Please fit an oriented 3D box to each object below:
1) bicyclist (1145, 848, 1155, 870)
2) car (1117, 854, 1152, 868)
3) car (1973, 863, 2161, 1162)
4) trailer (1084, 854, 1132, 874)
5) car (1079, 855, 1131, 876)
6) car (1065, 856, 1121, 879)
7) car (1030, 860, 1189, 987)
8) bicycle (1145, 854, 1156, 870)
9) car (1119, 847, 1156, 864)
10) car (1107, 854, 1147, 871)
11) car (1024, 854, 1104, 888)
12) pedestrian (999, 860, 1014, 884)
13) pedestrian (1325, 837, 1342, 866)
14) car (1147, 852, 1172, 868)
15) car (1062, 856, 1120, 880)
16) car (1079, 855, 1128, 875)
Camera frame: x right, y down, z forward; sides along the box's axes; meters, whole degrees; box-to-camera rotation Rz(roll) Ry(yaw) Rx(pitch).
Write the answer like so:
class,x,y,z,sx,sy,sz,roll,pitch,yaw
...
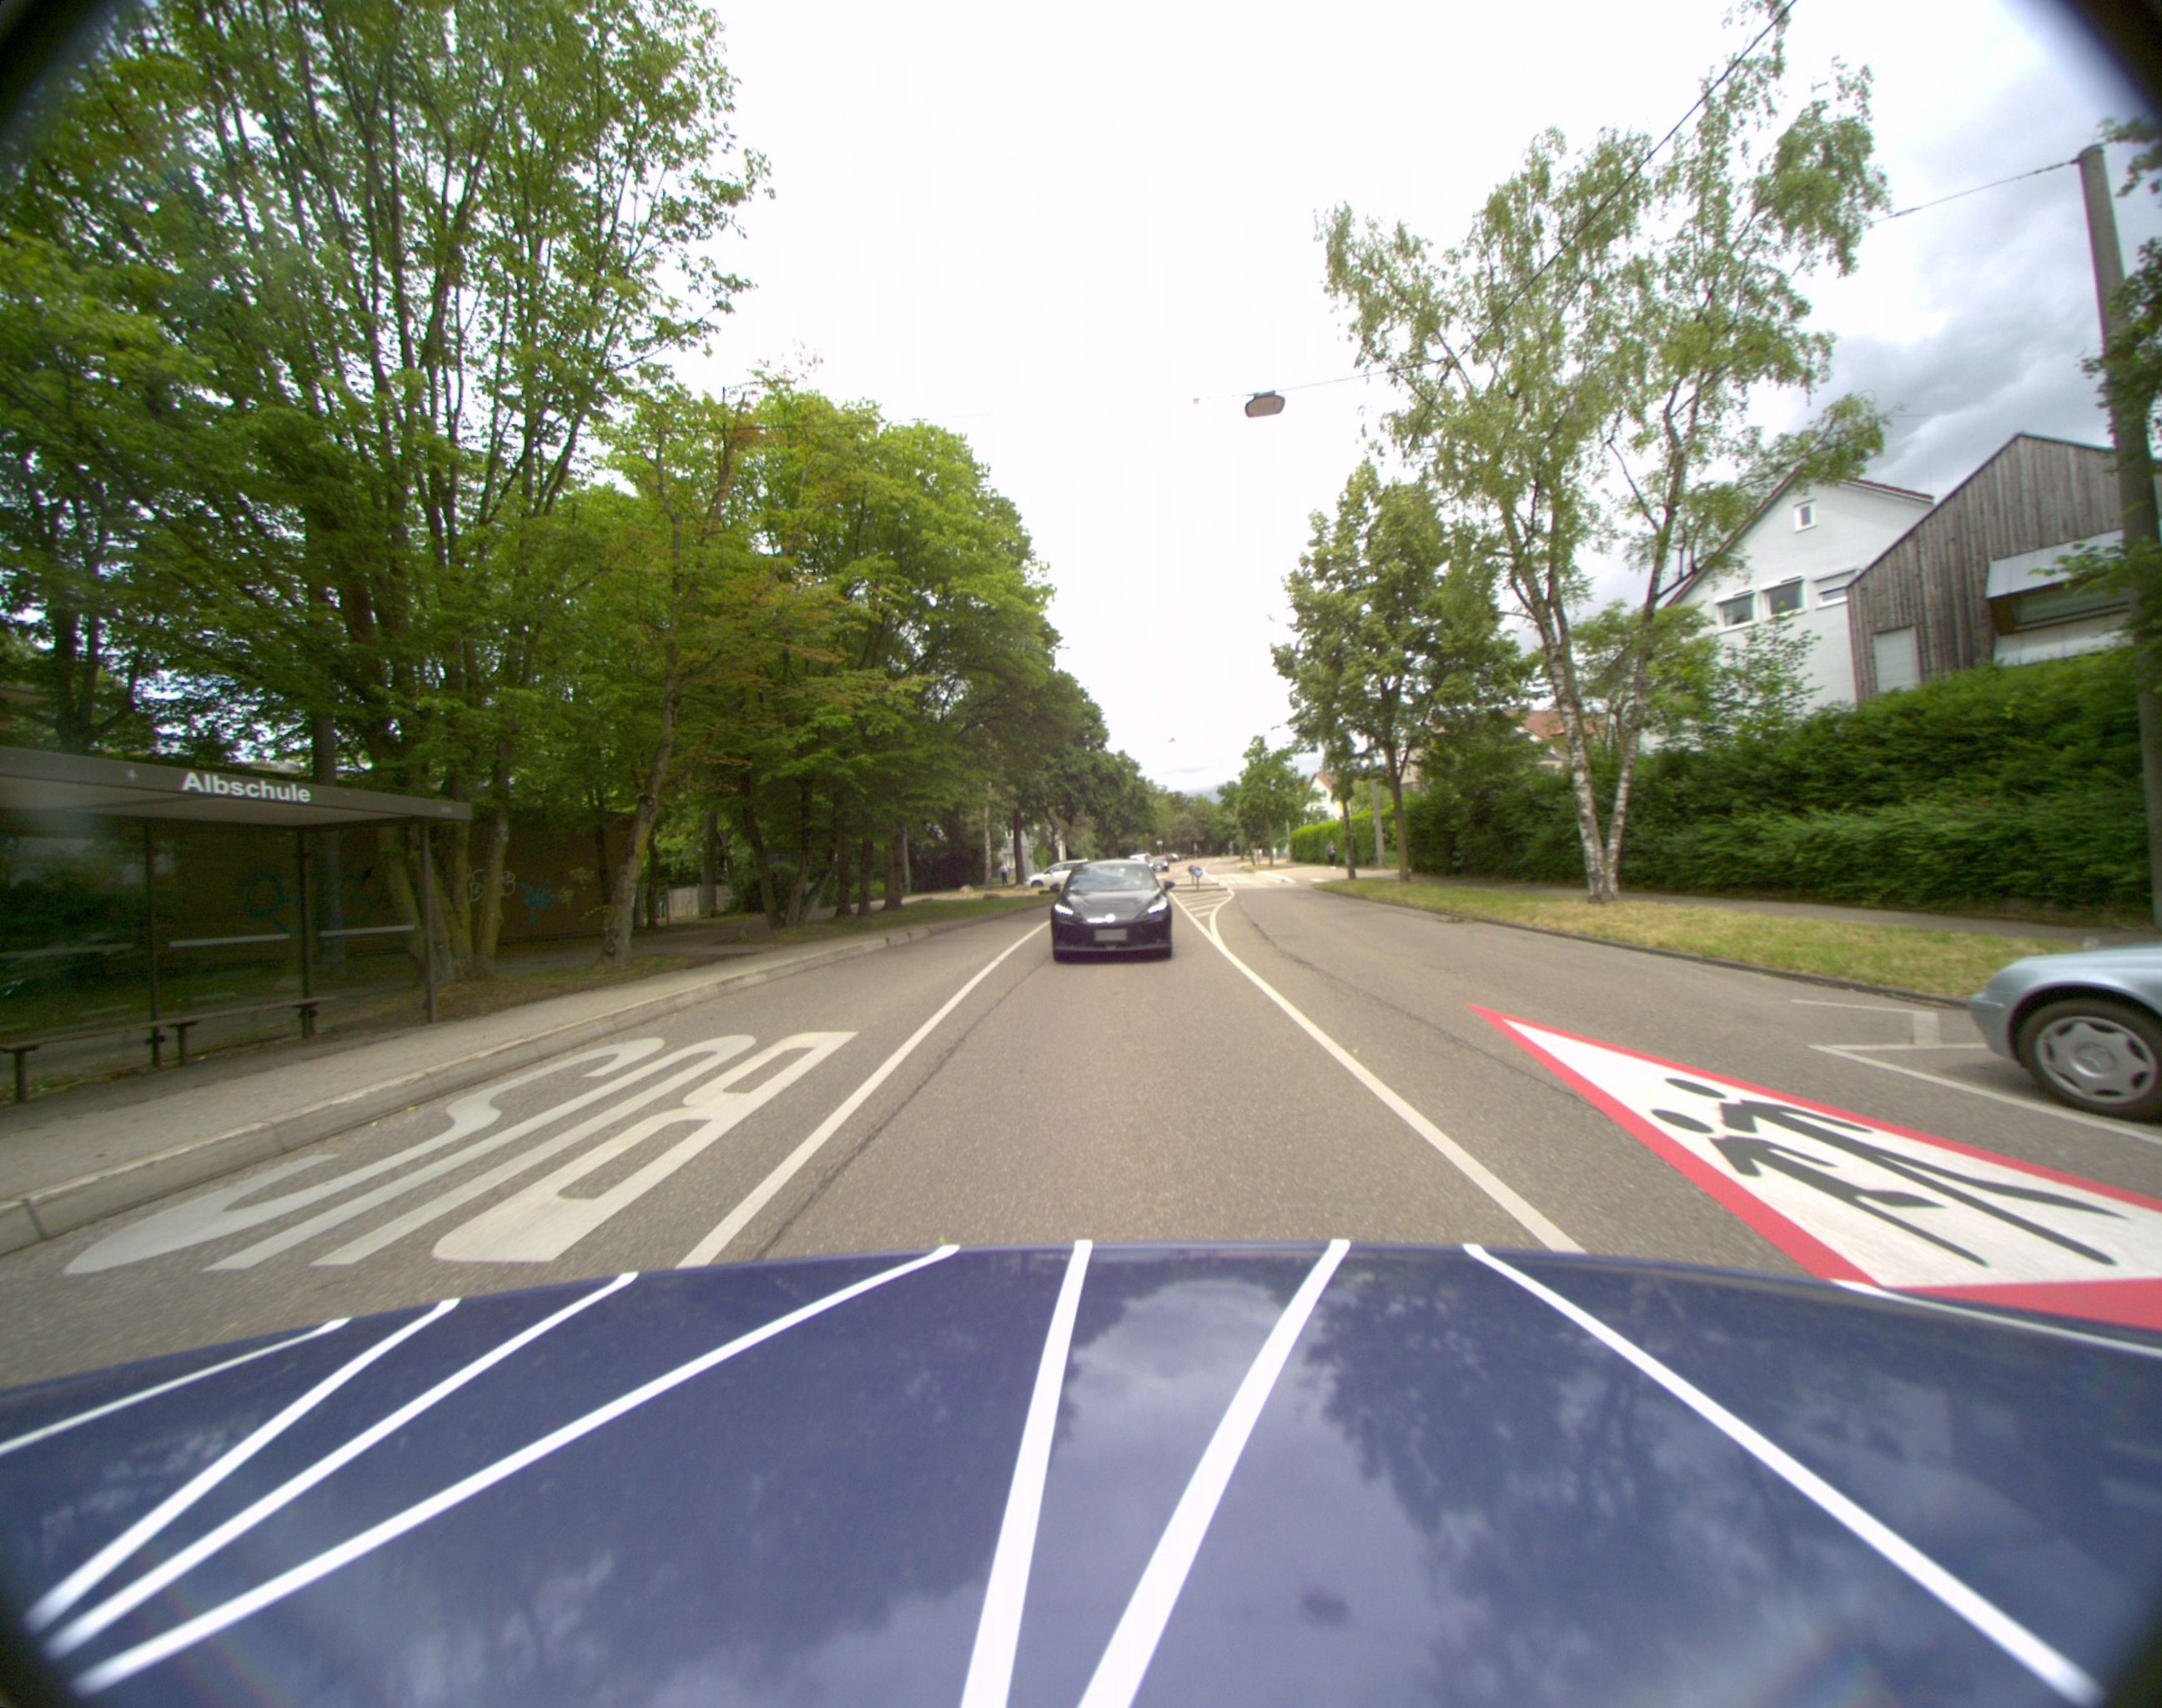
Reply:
class,x,y,z,sx,sy,sz,roll,pitch,yaw
bicyclist,5.564,0.397,61.286,0.647,1.768,0.628,-3,1,0
car,6.437,0.815,91.530,3.855,1.430,1.715,-4,0,-3
car,6.214,0.762,2.241,1.740,1.408,4.470,-2,0,-4
trailer,2.388,0.920,68.025,3.999,1.543,1.658,-3,0,-7
car,2.082,1.016,65.271,4.003,1.455,1.848,-5,0,-19
car,0.941,1.047,59.927,4.001,1.455,1.794,-5,0,-14
car,0.611,0.915,11.582,1.811,1.484,3.796,-3,1,11
bicycle,5.570,0.659,61.177,0.647,1.230,1.877,-3,0,0
car,7.048,0.175,94.776,4.223,1.748,1.857,-5,0,-13
car,4.885,0.911,81.312,3.857,1.426,1.714,-5,1,-14
car,-0.991,0.986,44.490,4.480,1.576,1.839,-4,0,-3
pedestrian,-5.437,1.312,55.395,0.692,1.634,0.779,-3,0,30
pedestrian,15.346,-0.166,46.195,0.693,1.701,0.778,-3,0,2
car,7.389,0.563,71.446,1.859,1.366,4.079,-3,0,12
car,0.739,1.013,57.188,4.001,1.455,1.864,-5,0,-14
car,2.067,1.004,70.127,4.002,1.455,1.789,-5,0,-18
